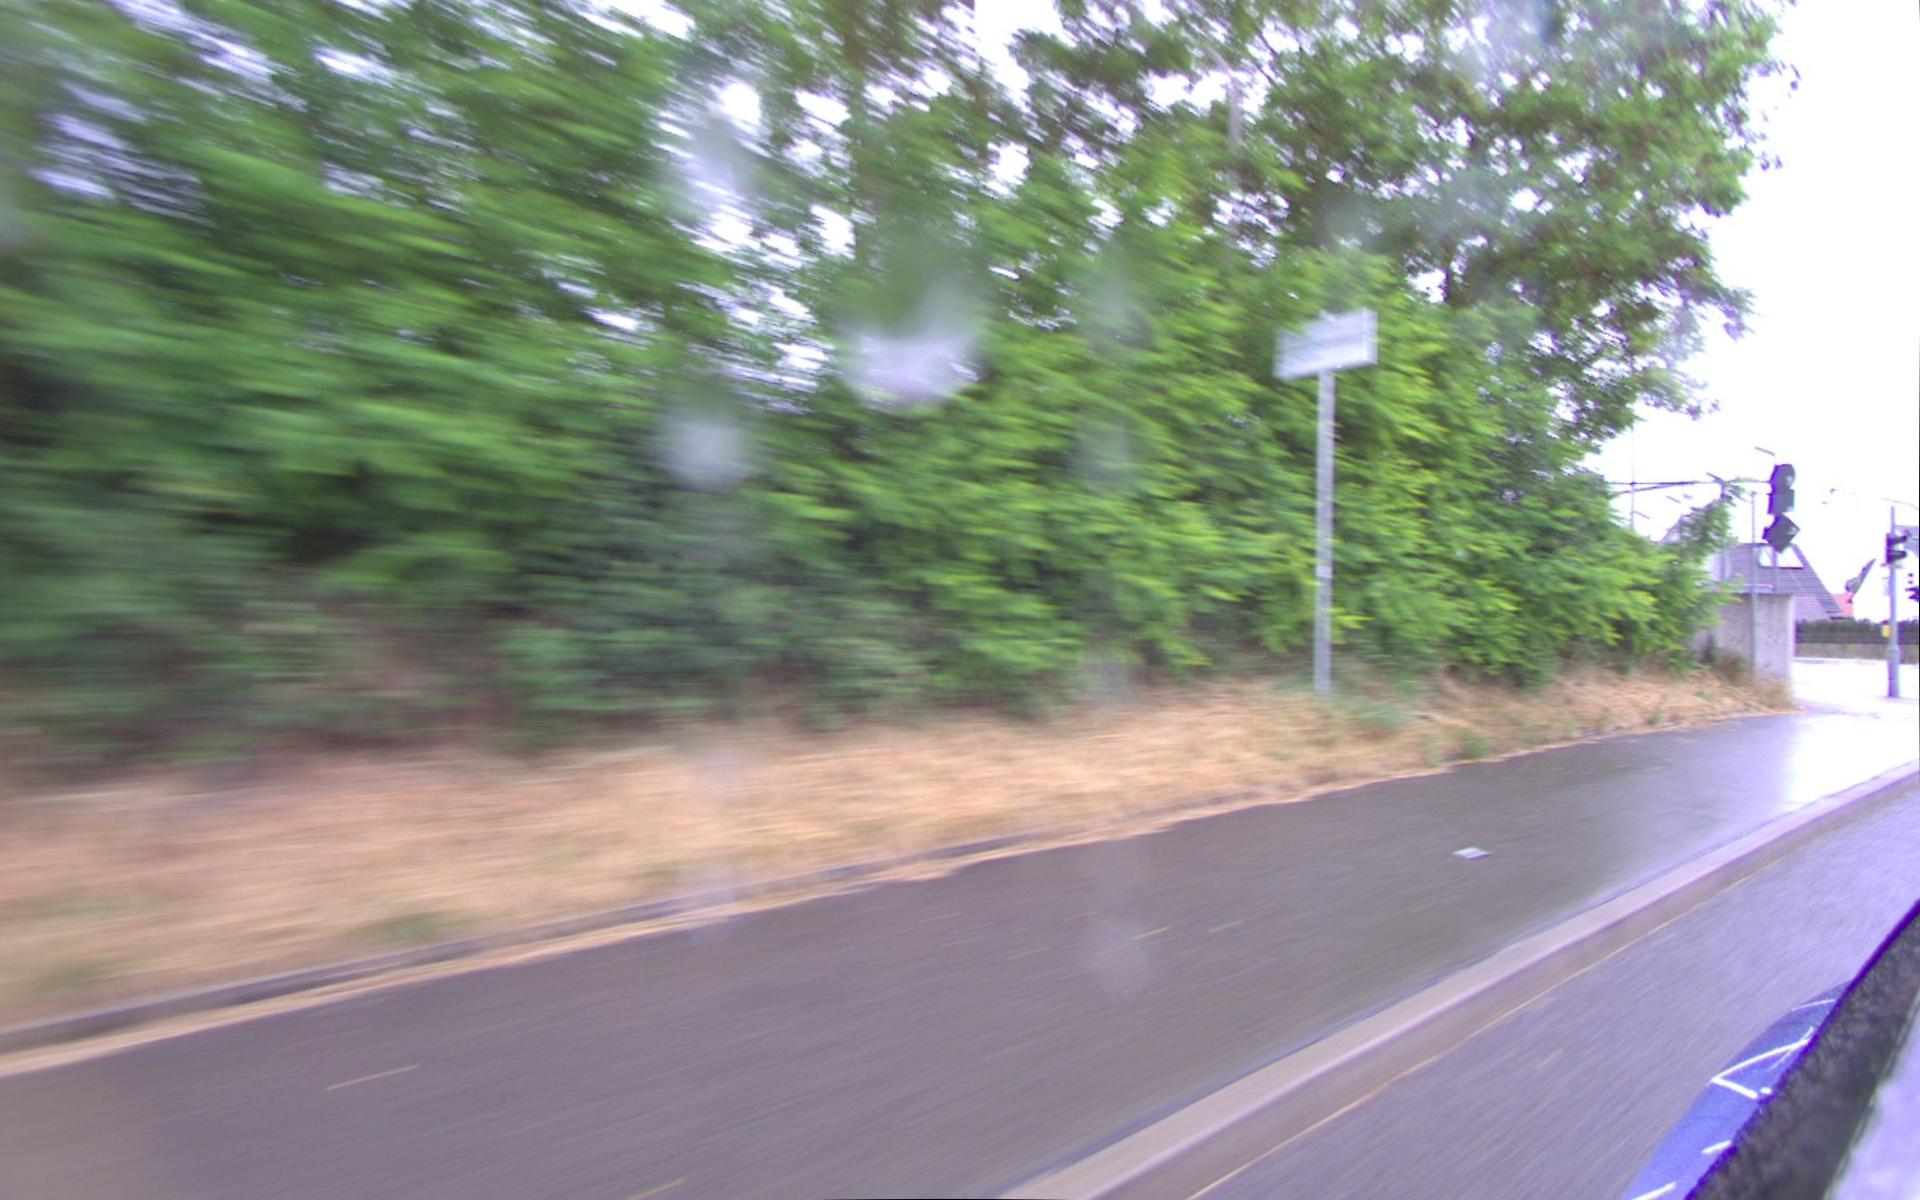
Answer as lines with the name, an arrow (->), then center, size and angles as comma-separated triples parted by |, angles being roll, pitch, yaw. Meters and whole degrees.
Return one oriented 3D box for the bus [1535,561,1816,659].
bus -> 29.989, 0.663, 43.621 | 2.929, 3.623, 12.289 | 0, -3, -2
